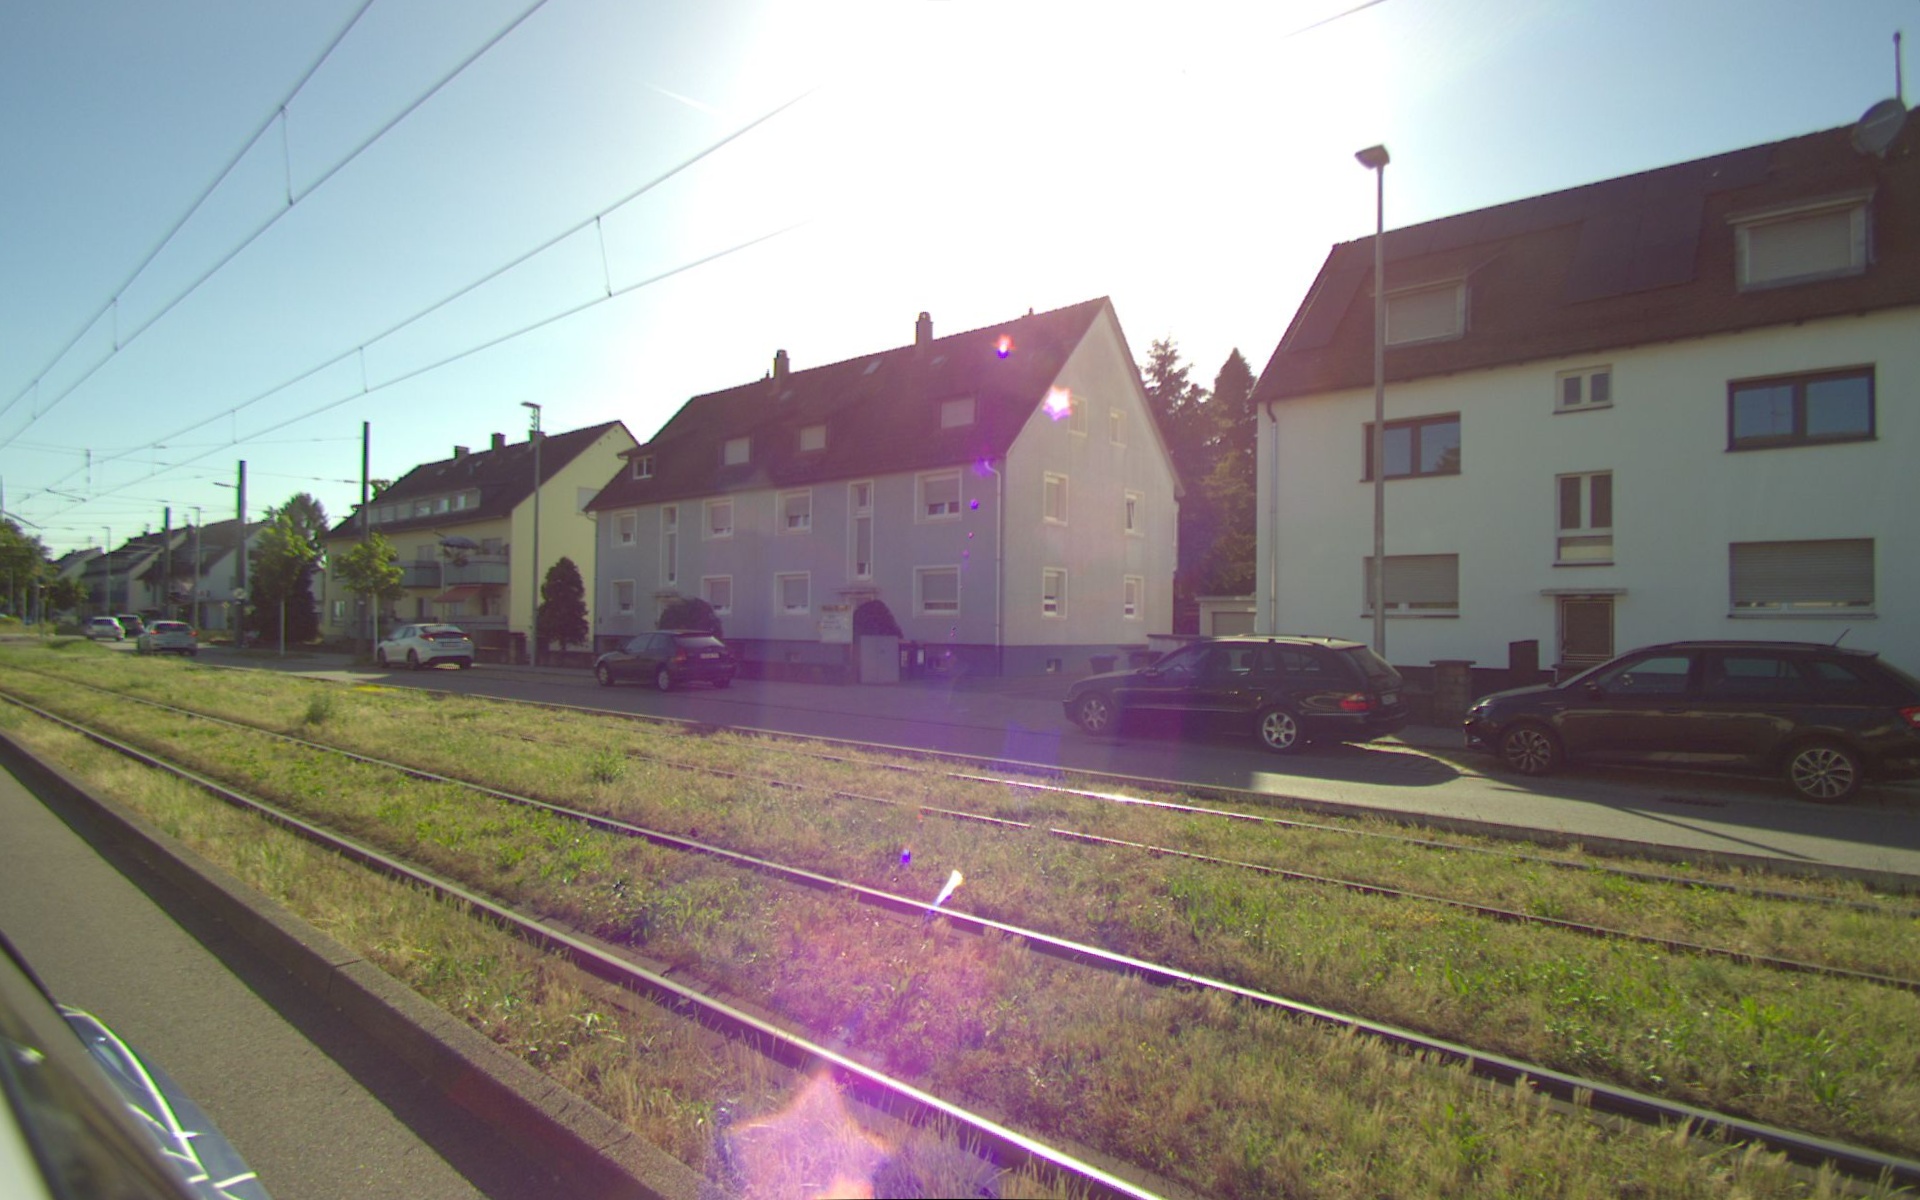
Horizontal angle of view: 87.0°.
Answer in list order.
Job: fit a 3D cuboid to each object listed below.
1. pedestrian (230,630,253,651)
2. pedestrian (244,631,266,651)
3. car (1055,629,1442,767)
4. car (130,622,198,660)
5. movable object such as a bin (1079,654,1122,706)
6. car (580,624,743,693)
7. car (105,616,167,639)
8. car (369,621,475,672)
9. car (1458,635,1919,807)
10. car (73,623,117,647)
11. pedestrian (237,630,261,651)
[{"bbox_3d":[-38.642,2.174,54.449,0.687,1.054,0.809,0,-2,38],"label":"pedestrian"},{"bbox_3d":[-37.311,2.168,53.599,0.590,1.013,0.720,2,-1,17],"label":"pedestrian"},{"bbox_3d":[3.811,1.198,14.061,4.882,1.534,1.856,-1,-1,44],"label":"car"},{"bbox_3d":[-35.295,1.794,44.852,4.023,1.502,1.690,1,-1,42],"label":"car"},{"bbox_3d":[2.644,1.509,19.103,0.703,0.934,0.384,0,-2,40],"label":"movable object such as a bin"},{"bbox_3d":[-7.080,1.312,23.822,4.165,1.474,1.771,-1,-2,42],"label":"car"},{"bbox_3d":[-58.795,1.974,72.292,1.801,1.591,4.010,1,-2,-12],"label":"car"},{"bbox_3d":[-17.469,1.478,32.790,4.213,1.529,1.674,-1,-3,42],"label":"car"},{"bbox_3d":[7.682,1.120,10.580,4.200,1.486,1.504,-1,-2,42],"label":"car"},{"bbox_3d":[-52.587,2.132,61.502,3.658,1.422,1.533,-1,-3,42],"label":"car"},{"bbox_3d":[-37.924,2.175,53.971,0.619,1.073,0.818,2,-1,7],"label":"pedestrian"}]
